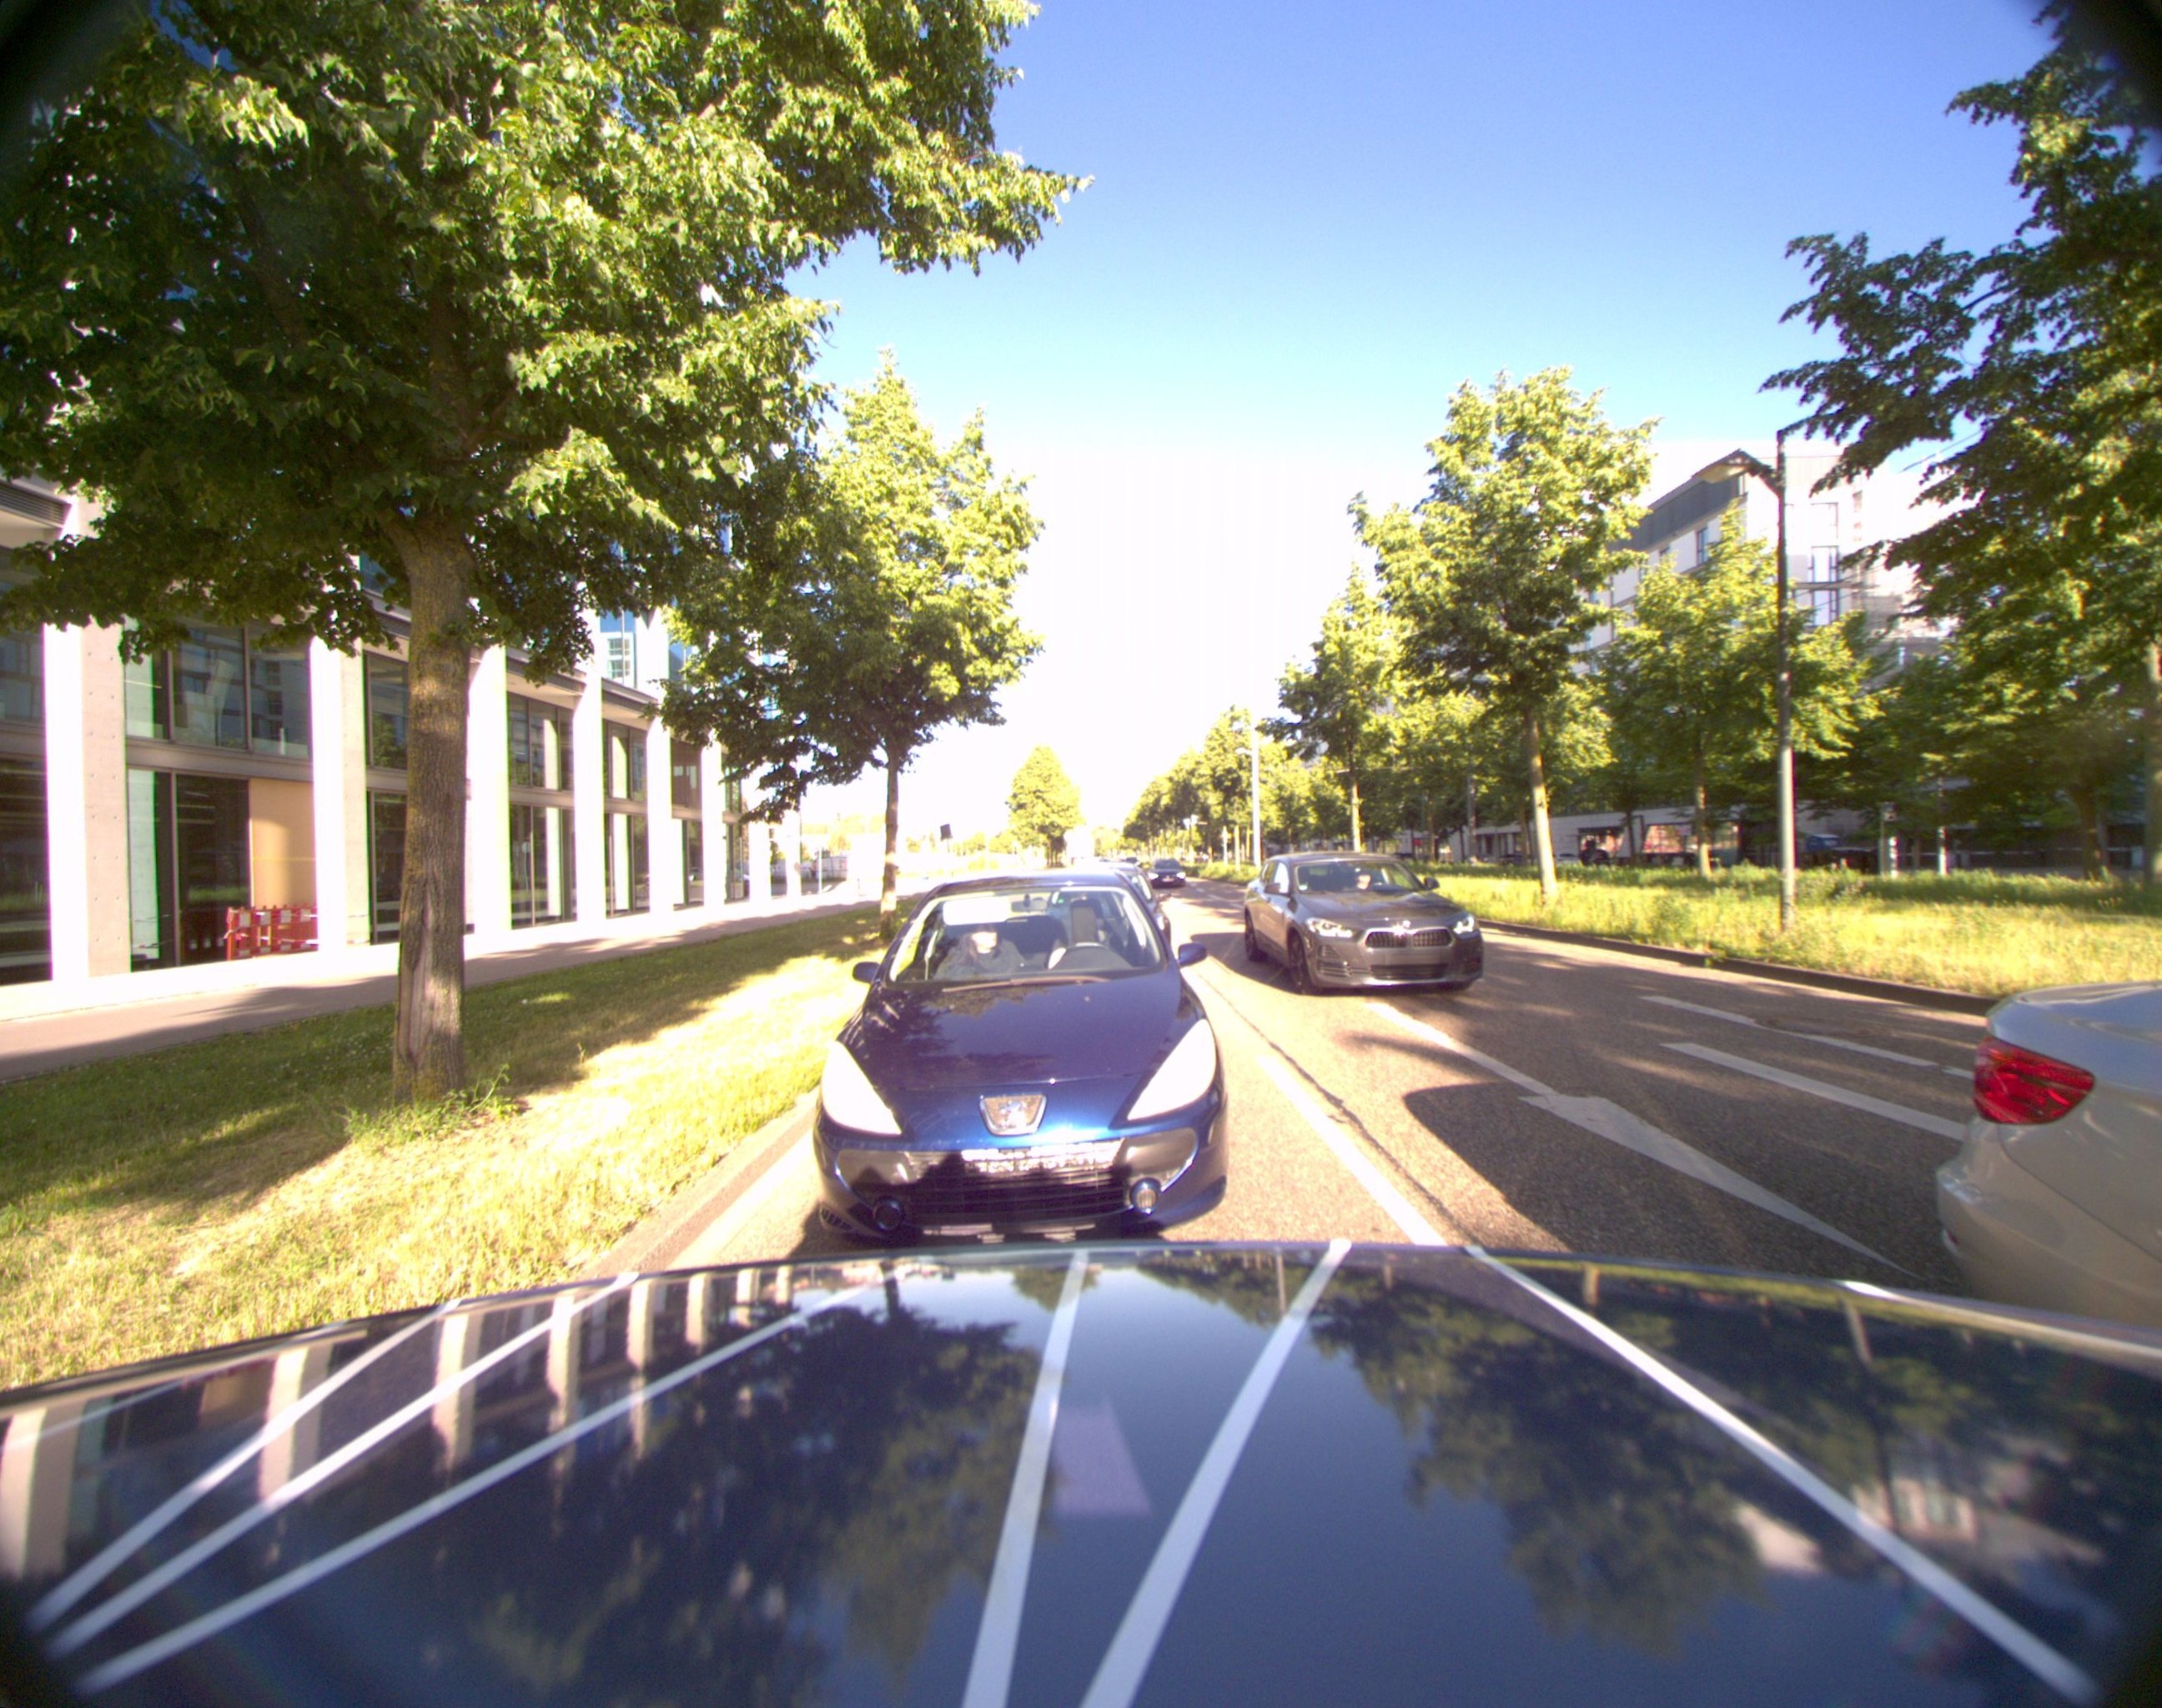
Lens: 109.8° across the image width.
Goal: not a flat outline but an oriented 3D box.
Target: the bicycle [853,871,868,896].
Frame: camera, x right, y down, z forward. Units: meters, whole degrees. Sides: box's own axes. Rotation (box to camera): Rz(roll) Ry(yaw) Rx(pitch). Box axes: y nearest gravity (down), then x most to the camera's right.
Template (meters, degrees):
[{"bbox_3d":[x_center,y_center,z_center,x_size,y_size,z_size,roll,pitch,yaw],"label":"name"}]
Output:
[{"bbox_3d":[-10.960,1.450,37.844,0.592,1.149,1.925,1,0,-13],"label":"bicycle"}]

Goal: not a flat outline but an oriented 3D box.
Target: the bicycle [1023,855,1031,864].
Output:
[{"bbox_3d":[-8.603,0.851,121.611,0.931,1.355,4.000,-1,0,1],"label":"bicycle"}]

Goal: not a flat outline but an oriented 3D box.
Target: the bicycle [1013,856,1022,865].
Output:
[{"bbox_3d":[-9.813,0.966,117.148,0.931,1.355,4.000,-1,0,1],"label":"bicycle"}]

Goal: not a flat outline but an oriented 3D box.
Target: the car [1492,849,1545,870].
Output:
[{"bbox_3d":[35.184,0.430,61.242,1.884,1.588,4.184,-1,0,1],"label":"car"}]

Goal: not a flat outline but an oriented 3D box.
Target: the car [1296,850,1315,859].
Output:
[{"bbox_3d":[36.603,0.042,124.164,1.998,1.387,4.000,-1,0,1],"label":"car"}]

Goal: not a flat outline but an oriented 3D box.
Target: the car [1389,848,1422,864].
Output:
[{"bbox_3d":[35.438,0.222,83.115,1.884,1.588,4.184,-1,0,1],"label":"car"}]

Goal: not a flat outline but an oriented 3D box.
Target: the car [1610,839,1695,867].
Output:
[{"bbox_3d":[34.041,-0.064,45.435,1.951,1.588,4.184,-1,0,1],"label":"car"}]

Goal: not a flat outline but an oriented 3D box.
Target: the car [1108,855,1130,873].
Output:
[{"bbox_3d":[3.306,0.846,66.905,1.724,1.516,4.000,-1,0,1],"label":"car"}]

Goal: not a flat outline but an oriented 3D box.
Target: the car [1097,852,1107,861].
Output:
[{"bbox_3d":[4.013,0.469,146.232,1.879,1.561,4.344,-1,0,1],"label":"car"}]

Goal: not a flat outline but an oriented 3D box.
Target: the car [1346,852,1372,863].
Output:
[{"bbox_3d":[35.598,0.407,97.458,1.998,1.387,4.001,-1,0,4],"label":"car"}]

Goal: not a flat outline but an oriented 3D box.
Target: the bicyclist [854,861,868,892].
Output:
[{"bbox_3d":[-10.953,1.102,37.838,0.592,1.530,0.699,1,0,-13],"label":"bicyclist"}]

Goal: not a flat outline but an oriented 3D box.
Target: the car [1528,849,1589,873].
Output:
[{"bbox_3d":[34.898,0.497,55.644,1.884,1.588,4.184,-1,0,1],"label":"car"}]

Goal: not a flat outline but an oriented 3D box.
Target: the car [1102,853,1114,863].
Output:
[{"bbox_3d":[4.347,0.633,122.259,1.878,1.561,4.344,-1,0,2],"label":"car"}]

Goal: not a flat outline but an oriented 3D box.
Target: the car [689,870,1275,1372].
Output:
[{"bbox_3d":[-0.291,0.915,4.688,1.846,1.473,4.481,-2,0,1],"label":"car"}]

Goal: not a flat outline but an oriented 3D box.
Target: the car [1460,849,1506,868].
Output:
[{"bbox_3d":[35.150,0.386,66.525,1.884,1.588,4.184,-1,0,1],"label":"car"}]

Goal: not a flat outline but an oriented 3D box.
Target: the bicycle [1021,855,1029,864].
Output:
[{"bbox_3d":[-8.633,0.890,117.456,0.931,1.355,4.000,-1,0,1],"label":"bicycle"}]

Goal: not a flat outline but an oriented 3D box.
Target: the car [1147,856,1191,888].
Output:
[{"bbox_3d":[4.341,0.865,38.057,1.878,1.415,4.344,-1,0,2],"label":"car"}]

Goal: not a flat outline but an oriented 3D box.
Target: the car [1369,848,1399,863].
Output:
[{"bbox_3d":[35.495,0.166,89.036,1.884,1.588,4.184,-1,0,1],"label":"car"}]

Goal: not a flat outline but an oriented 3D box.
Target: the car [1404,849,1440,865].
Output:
[{"bbox_3d":[35.026,0.291,78.207,1.884,1.588,4.184,-1,0,1],"label":"car"}]

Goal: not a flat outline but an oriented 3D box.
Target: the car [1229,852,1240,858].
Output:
[{"bbox_3d":[36.107,0.210,179.243,1.998,1.387,4.001,-1,0,4],"label":"car"}]

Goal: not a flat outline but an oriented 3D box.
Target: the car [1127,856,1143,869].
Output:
[{"bbox_3d":[6.836,1.019,96.882,1.878,1.577,4.344,-1,0,2],"label":"car"}]

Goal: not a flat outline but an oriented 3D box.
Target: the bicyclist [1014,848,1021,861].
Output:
[{"bbox_3d":[-9.825,0.103,117.158,0.931,2.045,1.121,-1,1,1],"label":"bicyclist"}]

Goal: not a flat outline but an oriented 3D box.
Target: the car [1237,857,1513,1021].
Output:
[{"bbox_3d":[3.183,0.813,9.183,1.861,1.482,4.000,-1,0,2],"label":"car"}]

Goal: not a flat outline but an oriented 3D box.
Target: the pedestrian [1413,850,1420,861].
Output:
[{"bbox_3d":[41.633,0.133,94.358,0.604,1.331,0.660,-1,1,1],"label":"pedestrian"}]

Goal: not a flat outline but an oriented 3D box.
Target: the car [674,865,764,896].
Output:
[{"bbox_3d":[-20.046,1.434,42.159,3.996,1.569,2.000,-1,0,3],"label":"car"}]

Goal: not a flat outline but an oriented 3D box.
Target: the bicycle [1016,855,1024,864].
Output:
[{"bbox_3d":[-9.754,0.924,121.535,0.931,1.355,4.000,-1,0,1],"label":"bicycle"}]

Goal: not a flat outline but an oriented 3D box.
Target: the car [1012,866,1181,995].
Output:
[{"bbox_3d":[0.218,0.958,11.467,1.998,1.437,4.622,-1,0,1],"label":"car"}]

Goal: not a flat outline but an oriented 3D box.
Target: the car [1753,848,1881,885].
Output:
[{"bbox_3d":[34.082,0.557,35.363,1.951,1.588,4.184,-1,0,1],"label":"car"}]
